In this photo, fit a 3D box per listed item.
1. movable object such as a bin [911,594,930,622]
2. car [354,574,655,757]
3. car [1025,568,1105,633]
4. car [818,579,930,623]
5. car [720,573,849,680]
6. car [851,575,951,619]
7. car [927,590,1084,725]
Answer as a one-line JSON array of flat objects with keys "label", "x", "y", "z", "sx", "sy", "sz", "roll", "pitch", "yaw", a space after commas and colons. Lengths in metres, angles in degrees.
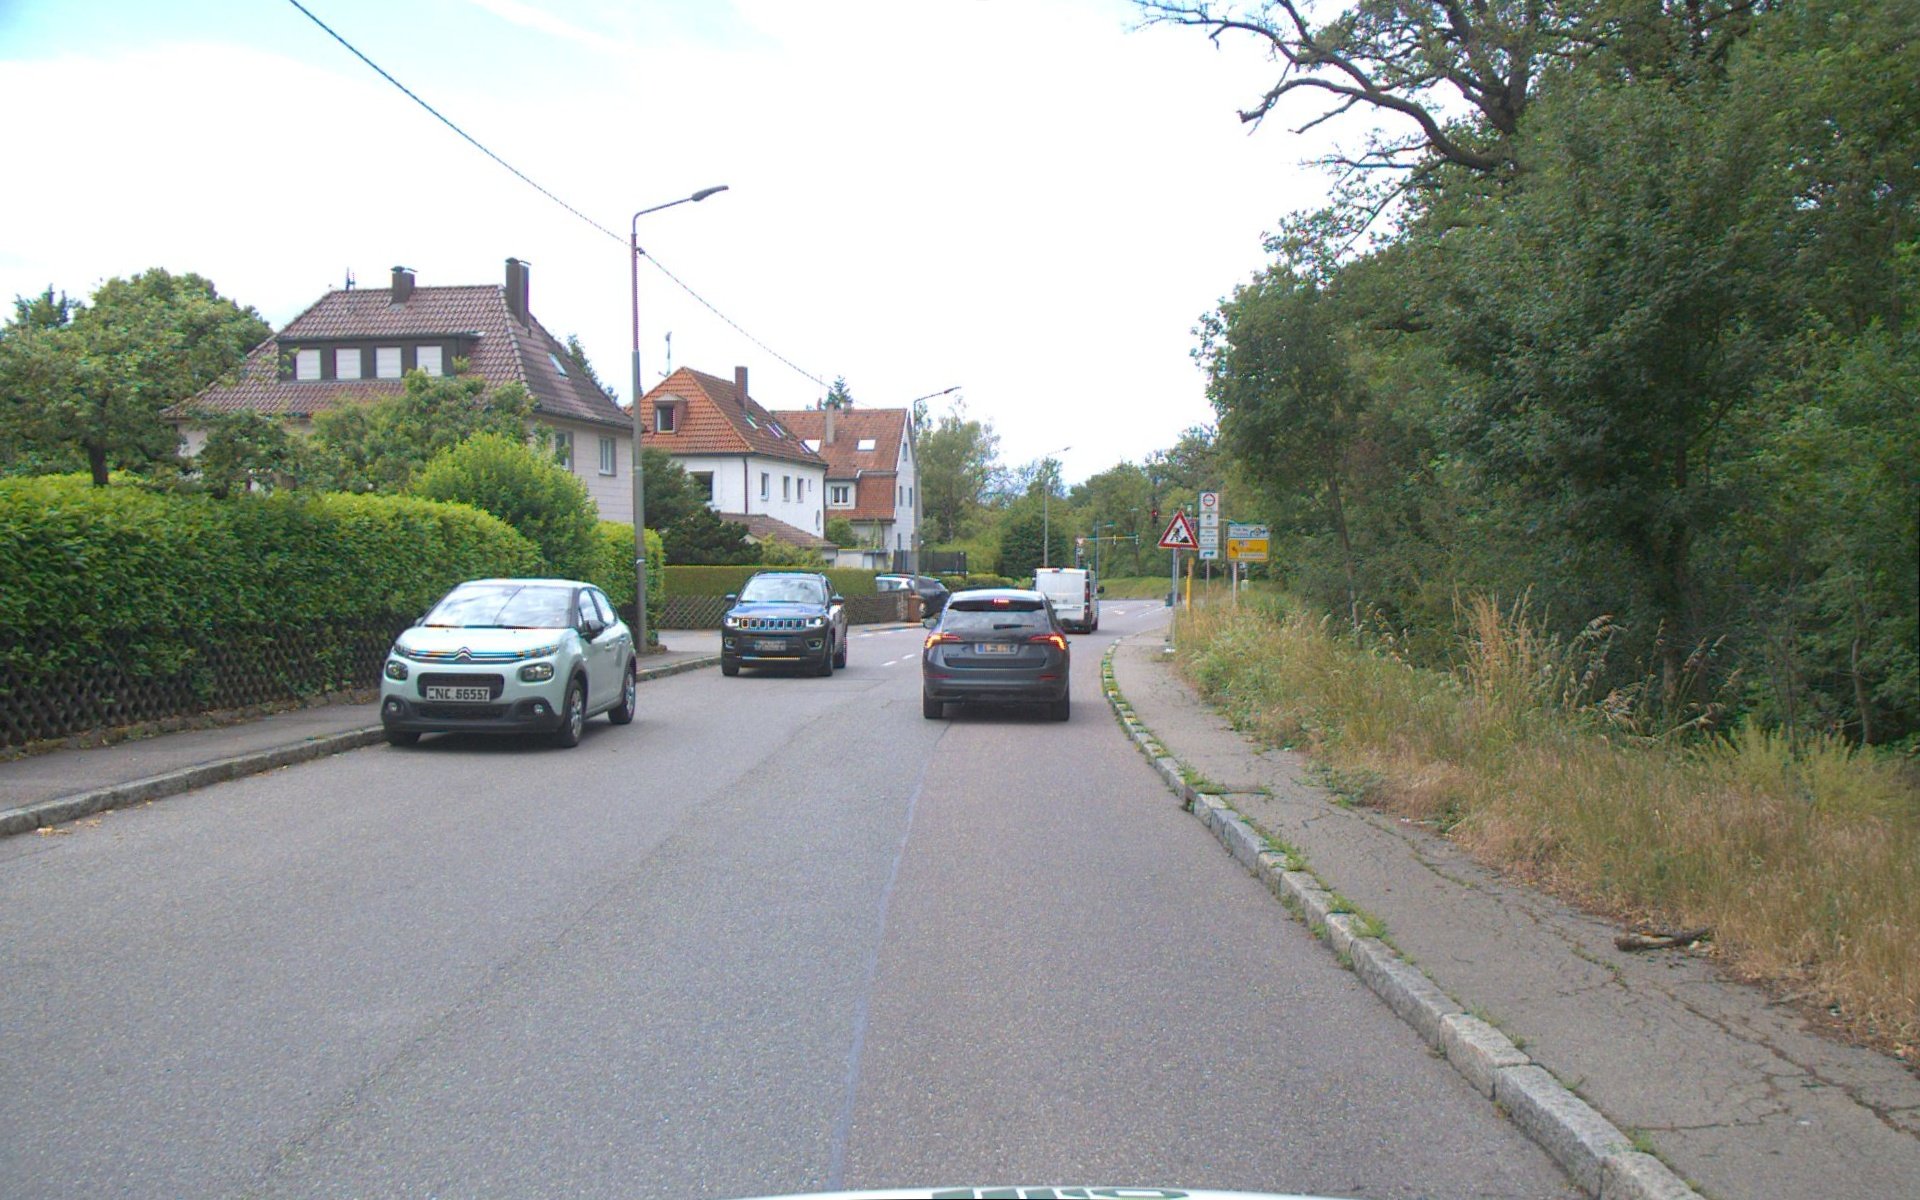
[{"label": "movable object such as a bin", "x": -1.398, "y": 0.277, "z": 58.550, "sx": 0.586, "sy": 0.967, "sz": 0.580, "roll": 0, "pitch": 0, "yaw": 6}, {"label": "car", "x": -4.214, "y": 0.543, "z": 15.965, "sx": 1.747, "sy": 1.526, "sz": 4.015, "roll": 1, "pitch": 0, "yaw": 0}, {"label": "car", "x": 3.377, "y": -0.004, "z": 52.258, "sx": 2.027, "sy": 1.956, "sz": 4.927, "roll": 0, "pitch": 0, "yaw": 10}, {"label": "car", "x": -3.204, "y": 0.030, "z": 62.102, "sx": 3.902, "sy": 1.646, "sz": 2.002, "roll": 0, "pitch": 0, "yaw": 8}, {"label": "car", "x": -2.857, "y": 0.370, "z": 27.760, "sx": 1.796, "sy": 1.625, "sz": 4.323, "roll": 0, "pitch": 1, "yaw": -2}, {"label": "car", "x": -2.355, "y": -0.124, "z": 67.060, "sx": 3.904, "sy": 1.735, "sz": 1.917, "roll": 0, "pitch": 0, "yaw": 1}, {"label": "car", "x": 0.459, "y": 0.617, "z": 20.285, "sx": 1.693, "sy": 1.464, "sz": 4.322, "roll": 0, "pitch": 0, "yaw": -2}]
